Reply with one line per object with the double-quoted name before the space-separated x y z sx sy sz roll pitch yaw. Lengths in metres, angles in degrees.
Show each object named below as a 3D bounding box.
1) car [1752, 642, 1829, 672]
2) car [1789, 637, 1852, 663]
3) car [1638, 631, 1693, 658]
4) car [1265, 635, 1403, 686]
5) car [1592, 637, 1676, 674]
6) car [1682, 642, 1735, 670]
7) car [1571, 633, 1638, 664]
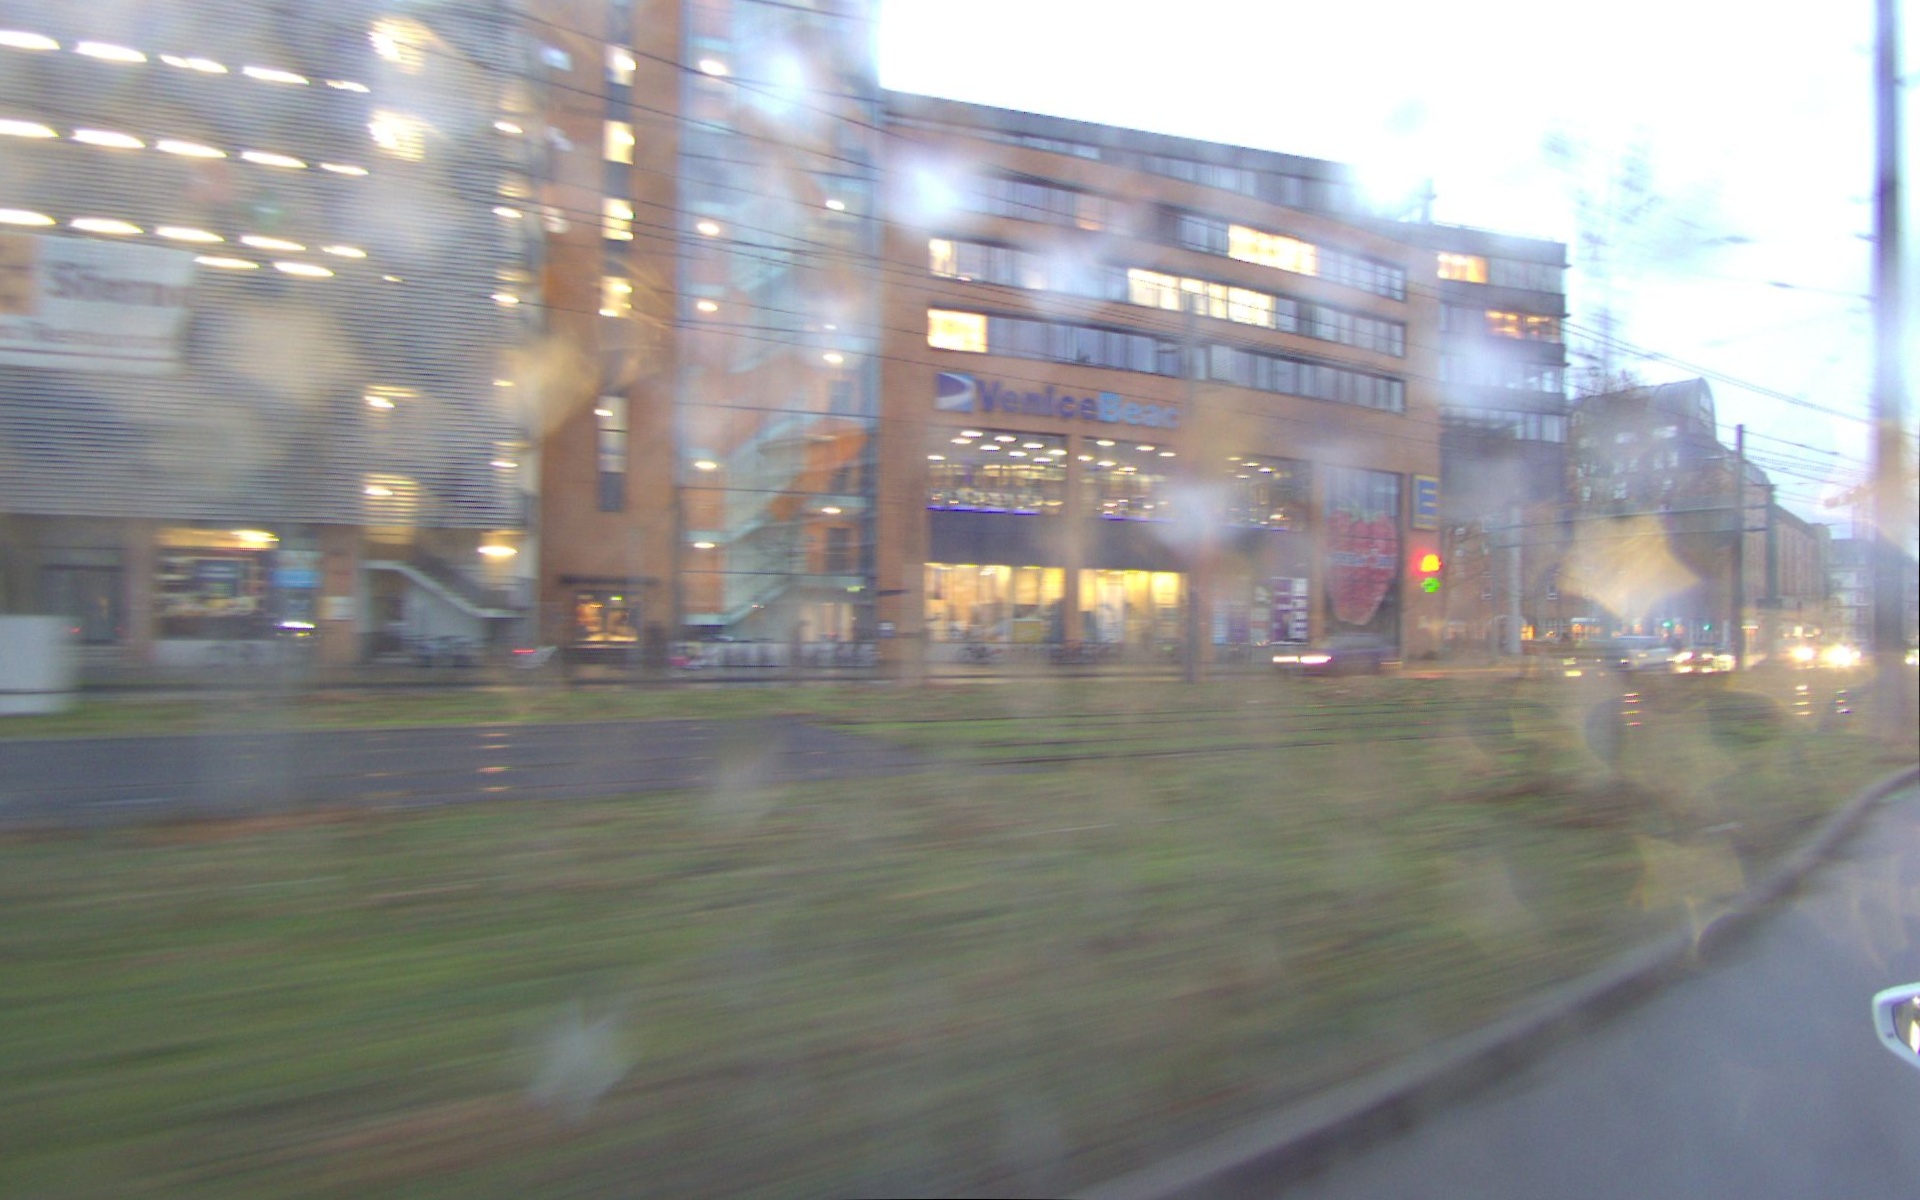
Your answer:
"car" 42.180 2.872 51.008 4.151 1.411 1.721 2 -2 -31
"car" 51.060 2.963 59.577 4.275 1.469 1.979 2 -2 -37
"car" 45.525 2.868 64.845 3.580 1.714 1.624 2 -2 -31
"car" 11.537 1.847 30.956 3.903 1.461 1.809 2 -2 -26
"car" 26.773 2.199 39.863 3.614 1.390 1.497 3 -2 -33
"car" 42.440 3.144 56.917 4.386 1.469 1.617 2 -2 -42
"car" 31.646 2.378 49.327 3.512 1.420 1.497 2 -2 -34
